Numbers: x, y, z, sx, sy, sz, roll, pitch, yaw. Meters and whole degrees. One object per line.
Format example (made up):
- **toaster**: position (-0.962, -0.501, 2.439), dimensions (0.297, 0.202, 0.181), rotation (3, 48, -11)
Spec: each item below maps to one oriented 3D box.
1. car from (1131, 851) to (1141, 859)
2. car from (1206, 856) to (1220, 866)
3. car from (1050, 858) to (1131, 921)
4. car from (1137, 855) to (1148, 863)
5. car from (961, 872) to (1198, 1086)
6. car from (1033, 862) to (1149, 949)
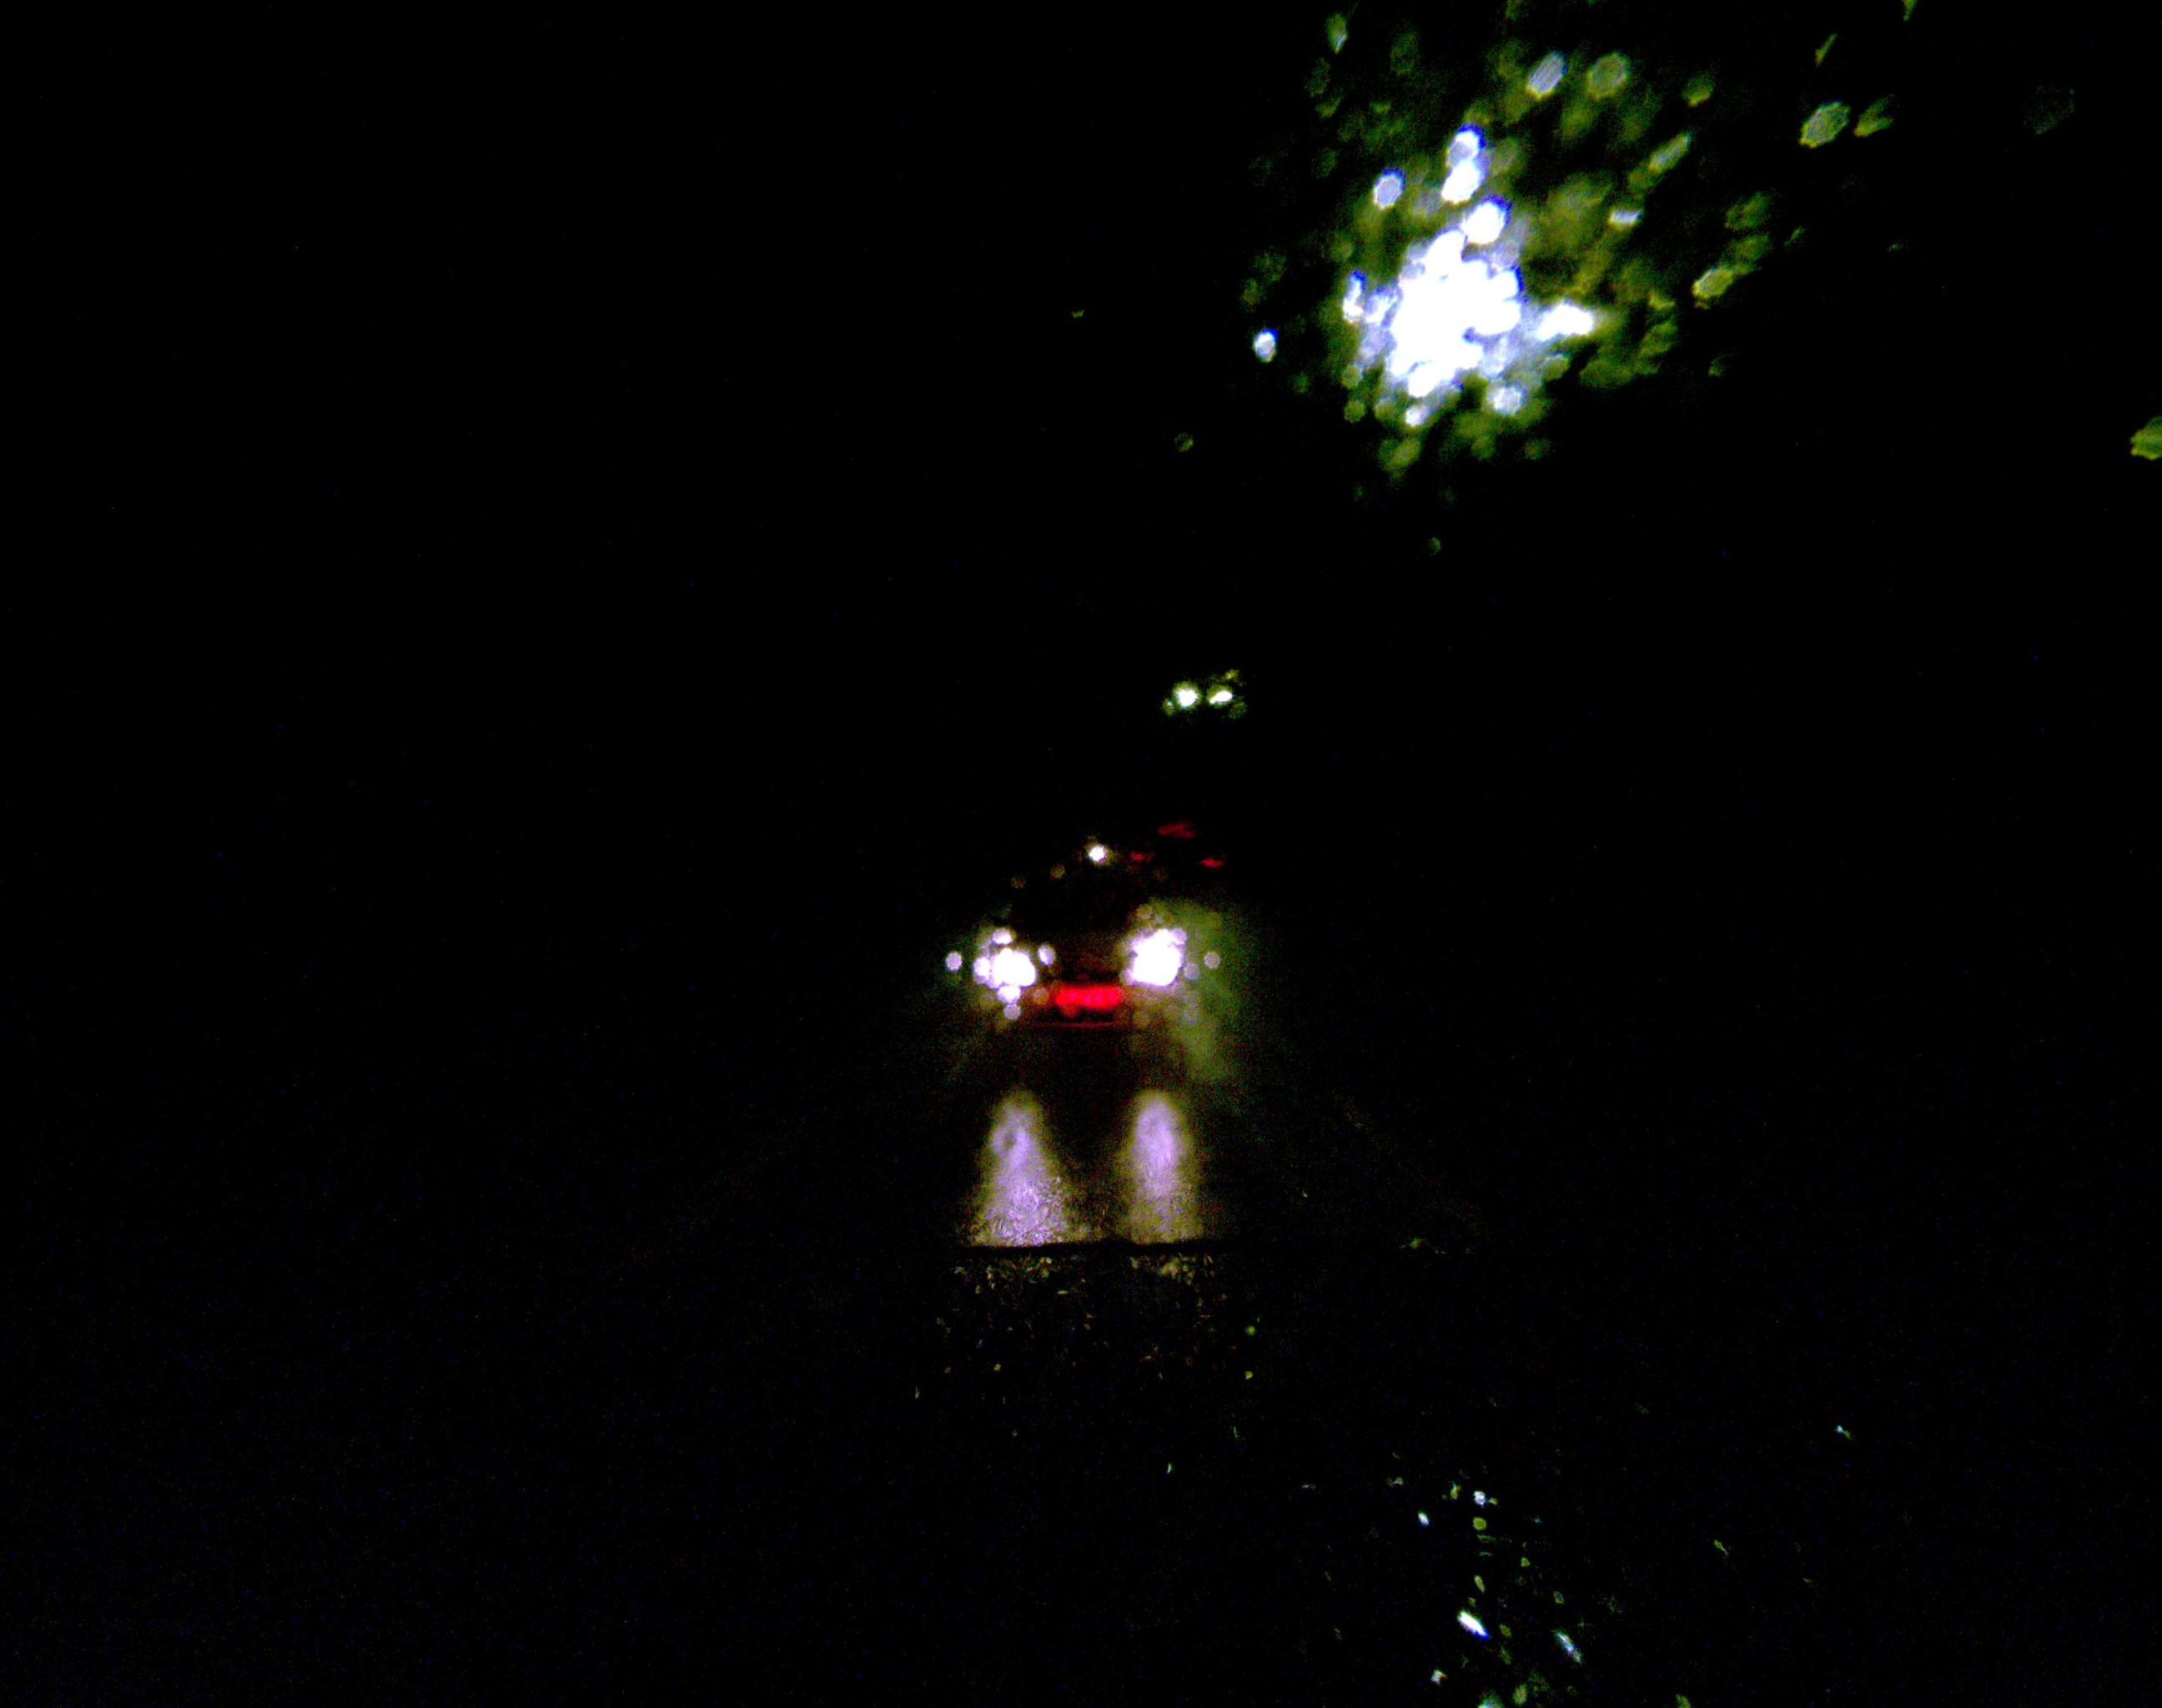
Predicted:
- **car**: position (12.162, 0.267, 167.667), dimensions (1.788, 1.637, 3.999), rotation (-2, 0, -1)
- **car**: position (22.940, 1.241, 131.681), dimensions (1.866, 1.637, 4.001), rotation (-2, 0, 3)
- **car**: position (0.272, 0.895, 21.078), dimensions (1.998, 1.531, 4.000), rotation (-1, 0, 1)
- **car**: position (12.216, 0.958, 151.246), dimensions (1.788, 1.637, 4.000), rotation (-2, 0, 0)
- **car**: position (0.012, 1.004, 7.792), dimensions (1.764, 1.492, 4.000), rotation (-2, 0, 1)
- **car**: position (0.194, 0.924, 15.266), dimensions (1.998, 1.455, 4.000), rotation (-1, 0, 1)
